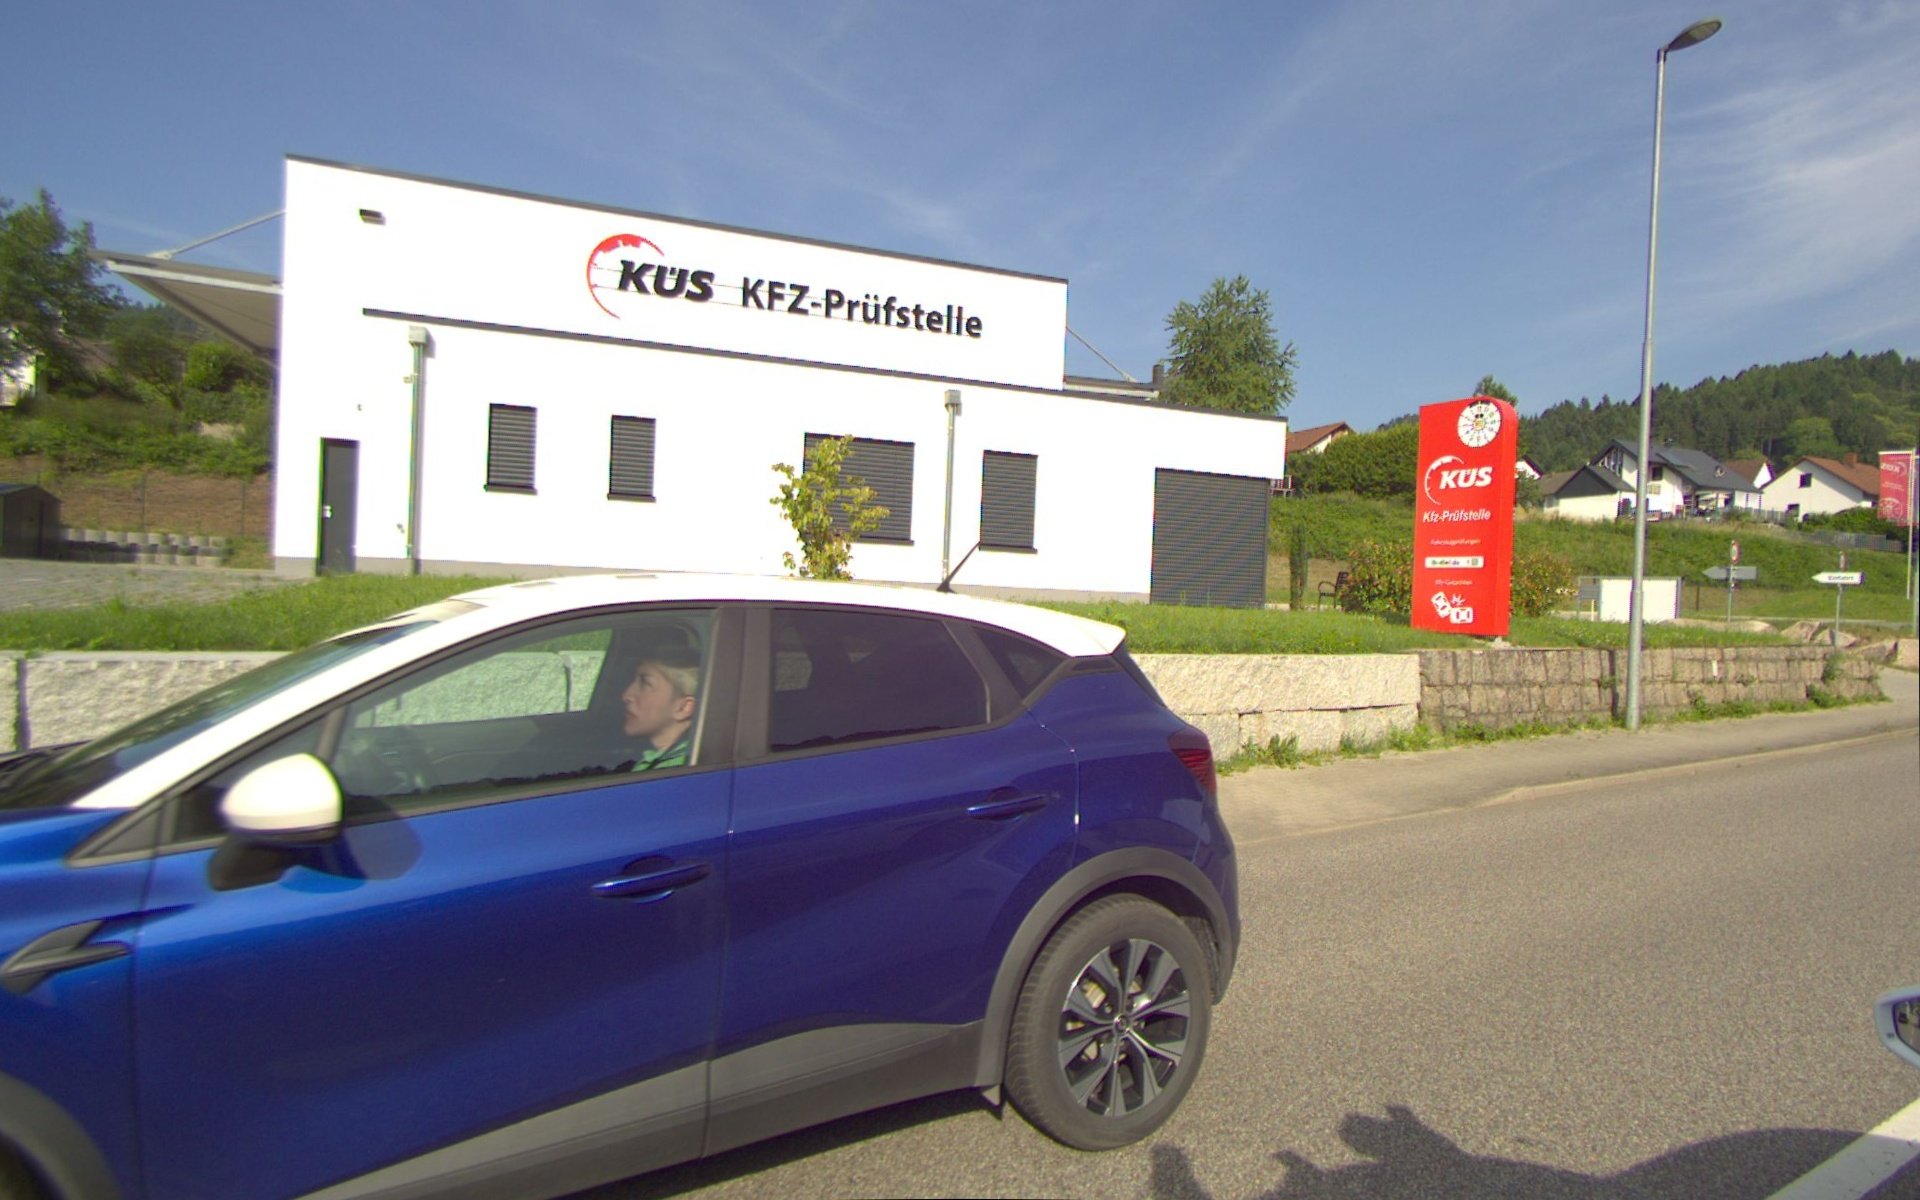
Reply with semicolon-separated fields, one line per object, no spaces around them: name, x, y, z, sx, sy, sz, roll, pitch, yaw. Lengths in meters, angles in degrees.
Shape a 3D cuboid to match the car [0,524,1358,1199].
car;-0.889;0.685;2.870;3.954;1.546;1.735;1;-1;-31
